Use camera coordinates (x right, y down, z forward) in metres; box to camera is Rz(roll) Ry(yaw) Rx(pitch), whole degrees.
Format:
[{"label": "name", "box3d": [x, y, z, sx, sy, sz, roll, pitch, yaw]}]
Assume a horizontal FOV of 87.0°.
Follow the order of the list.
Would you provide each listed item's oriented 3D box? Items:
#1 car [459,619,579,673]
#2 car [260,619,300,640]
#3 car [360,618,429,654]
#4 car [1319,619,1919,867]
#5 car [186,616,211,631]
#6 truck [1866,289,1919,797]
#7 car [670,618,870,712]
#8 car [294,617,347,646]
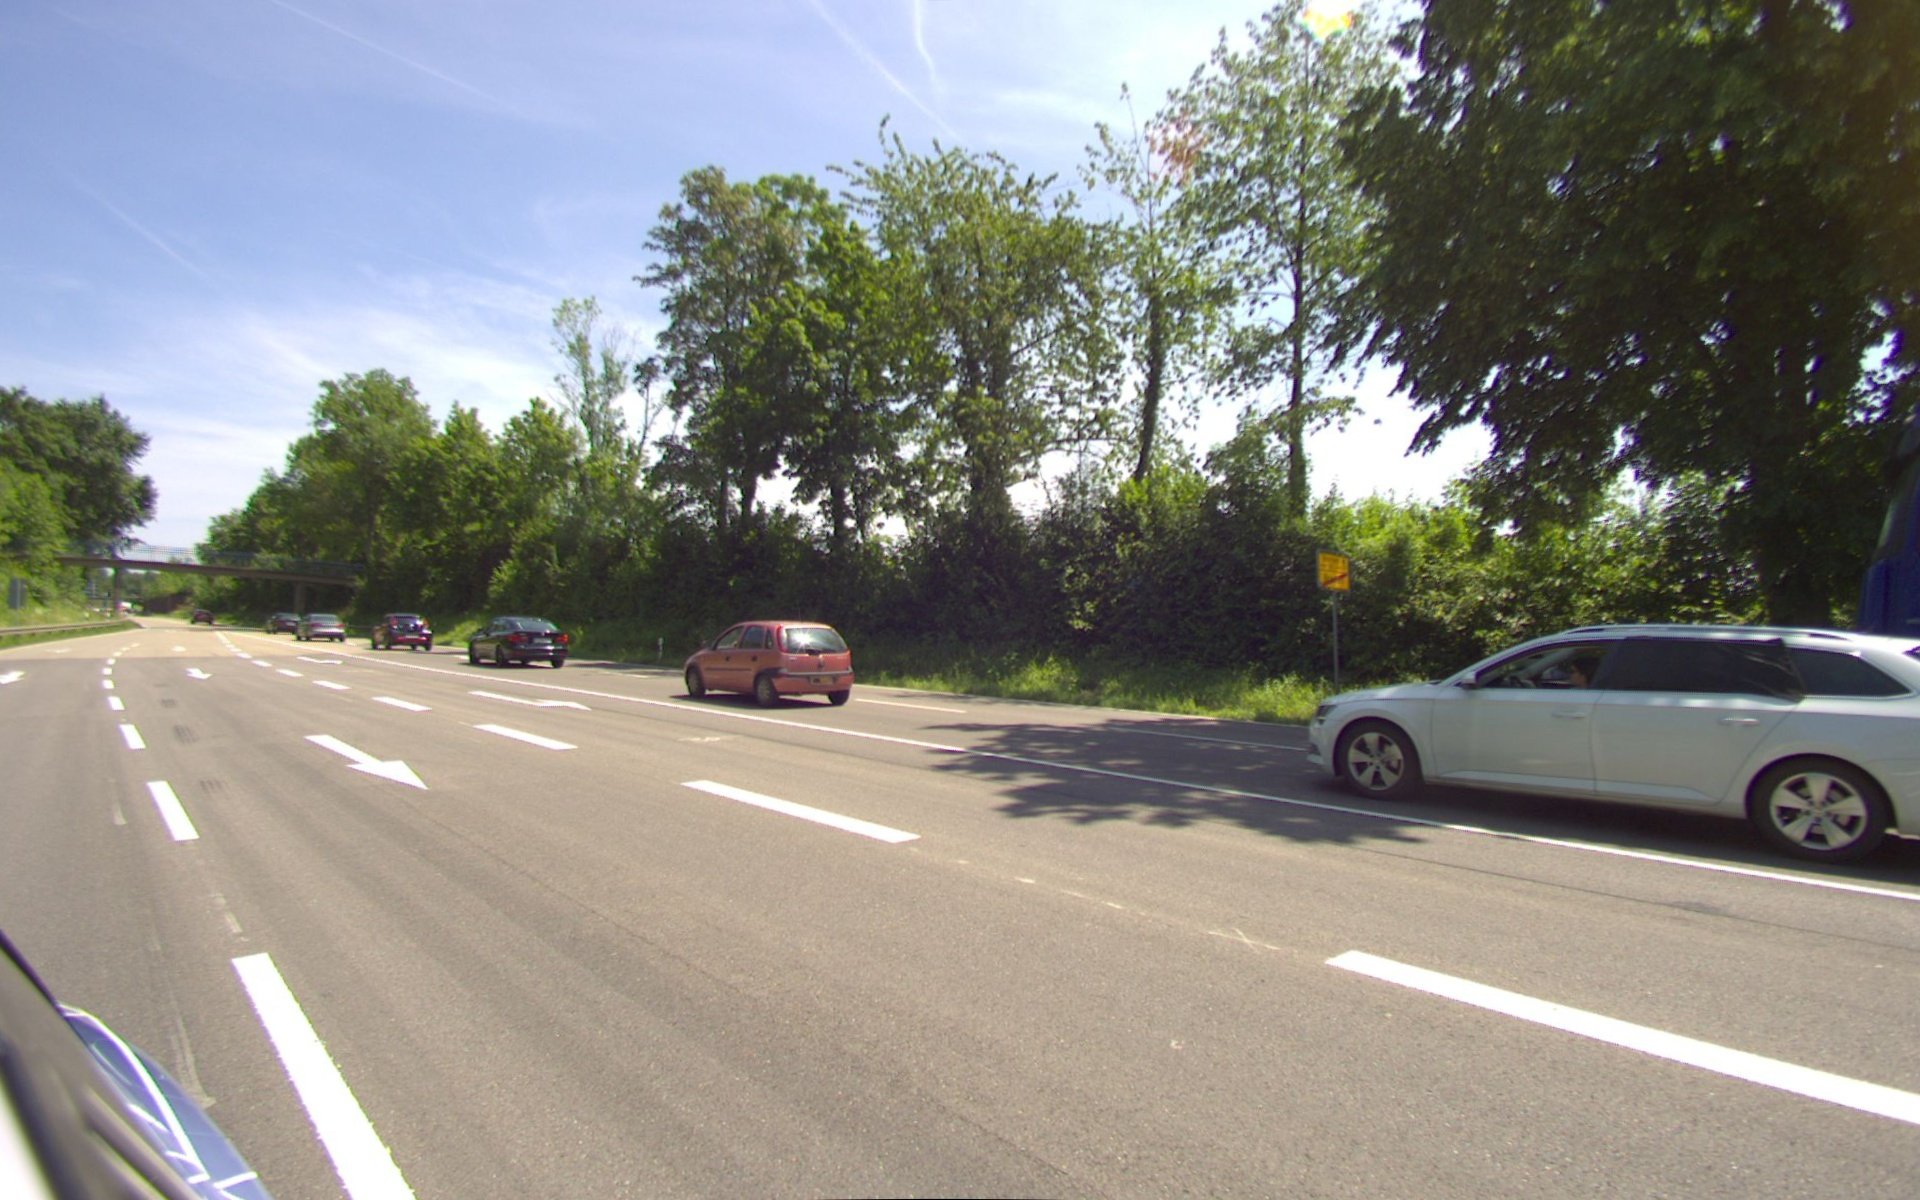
[{"label": "car", "box3d": [-13.259, 1.368, 30.296, 1.895, 1.492, 4.693, 3, -4, -42]}, {"label": "car", "box3d": [-46.952, 2.010, 69.828, 1.745, 1.397, 4.005, 1, -1, -42]}, {"label": "car", "box3d": [-23.771, 1.484, 42.486, 1.622, 1.449, 4.020, 1, -1, -43]}, {"label": "car", "box3d": [5.216, 0.876, 7.510, 1.679, 1.426, 4.567, 2, -2, -43]}, {"label": "car", "box3d": [-83.229, 2.553, 110.561, 1.880, 1.520, 3.769, 2, -2, -41]}, {"label": "truck", "box3d": [14.335, -0.524, 3.403, 2.932, 4.208, 16.595, 3, -3, -42]}, {"label": "car", "box3d": [-3.425, 1.074, 17.784, 1.745, 1.457, 3.780, 3, -3, -41]}, {"label": "car", "box3d": [-33.644, 1.611, 53.215, 1.745, 1.397, 4.005, 1, -1, -42]}]
